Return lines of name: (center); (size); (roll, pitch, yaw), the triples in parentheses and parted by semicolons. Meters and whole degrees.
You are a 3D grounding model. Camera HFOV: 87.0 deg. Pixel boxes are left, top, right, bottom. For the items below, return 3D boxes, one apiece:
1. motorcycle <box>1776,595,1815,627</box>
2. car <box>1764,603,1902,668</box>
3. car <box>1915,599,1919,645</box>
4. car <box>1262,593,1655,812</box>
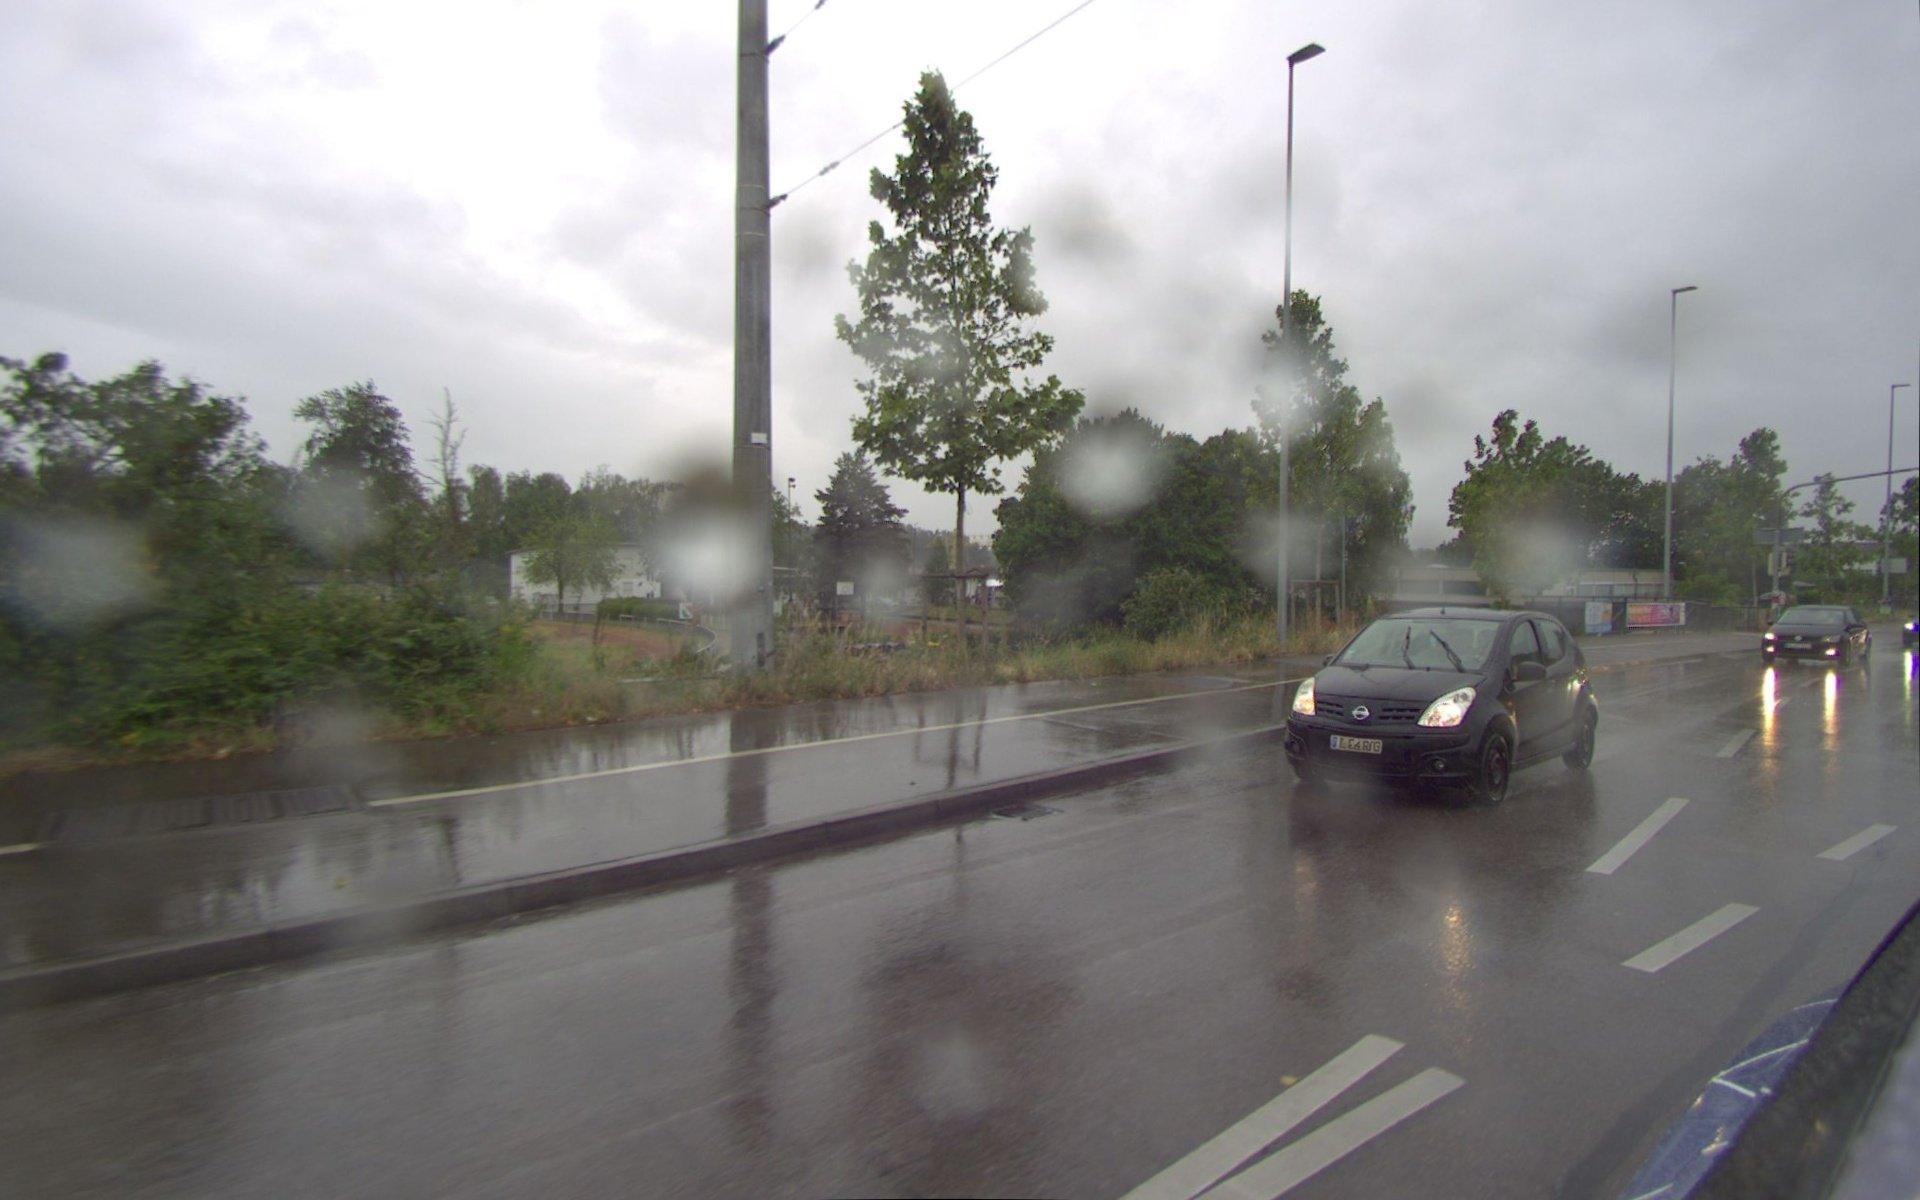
motorcycle: (34.017, 0.448, 41.202); (1.417, 1.233, 0.635); (1, 2, -24)
car: (21.823, 0.845, 25.268); (3.966, 1.503, 1.716); (1, -1, -36)
car: (34.400, 0.761, 34.669); (3.966, 1.544, 1.716); (1, -1, -36)
car: (4.518, 0.720, 8.891); (4.022, 1.480, 1.774); (1, -1, -42)
